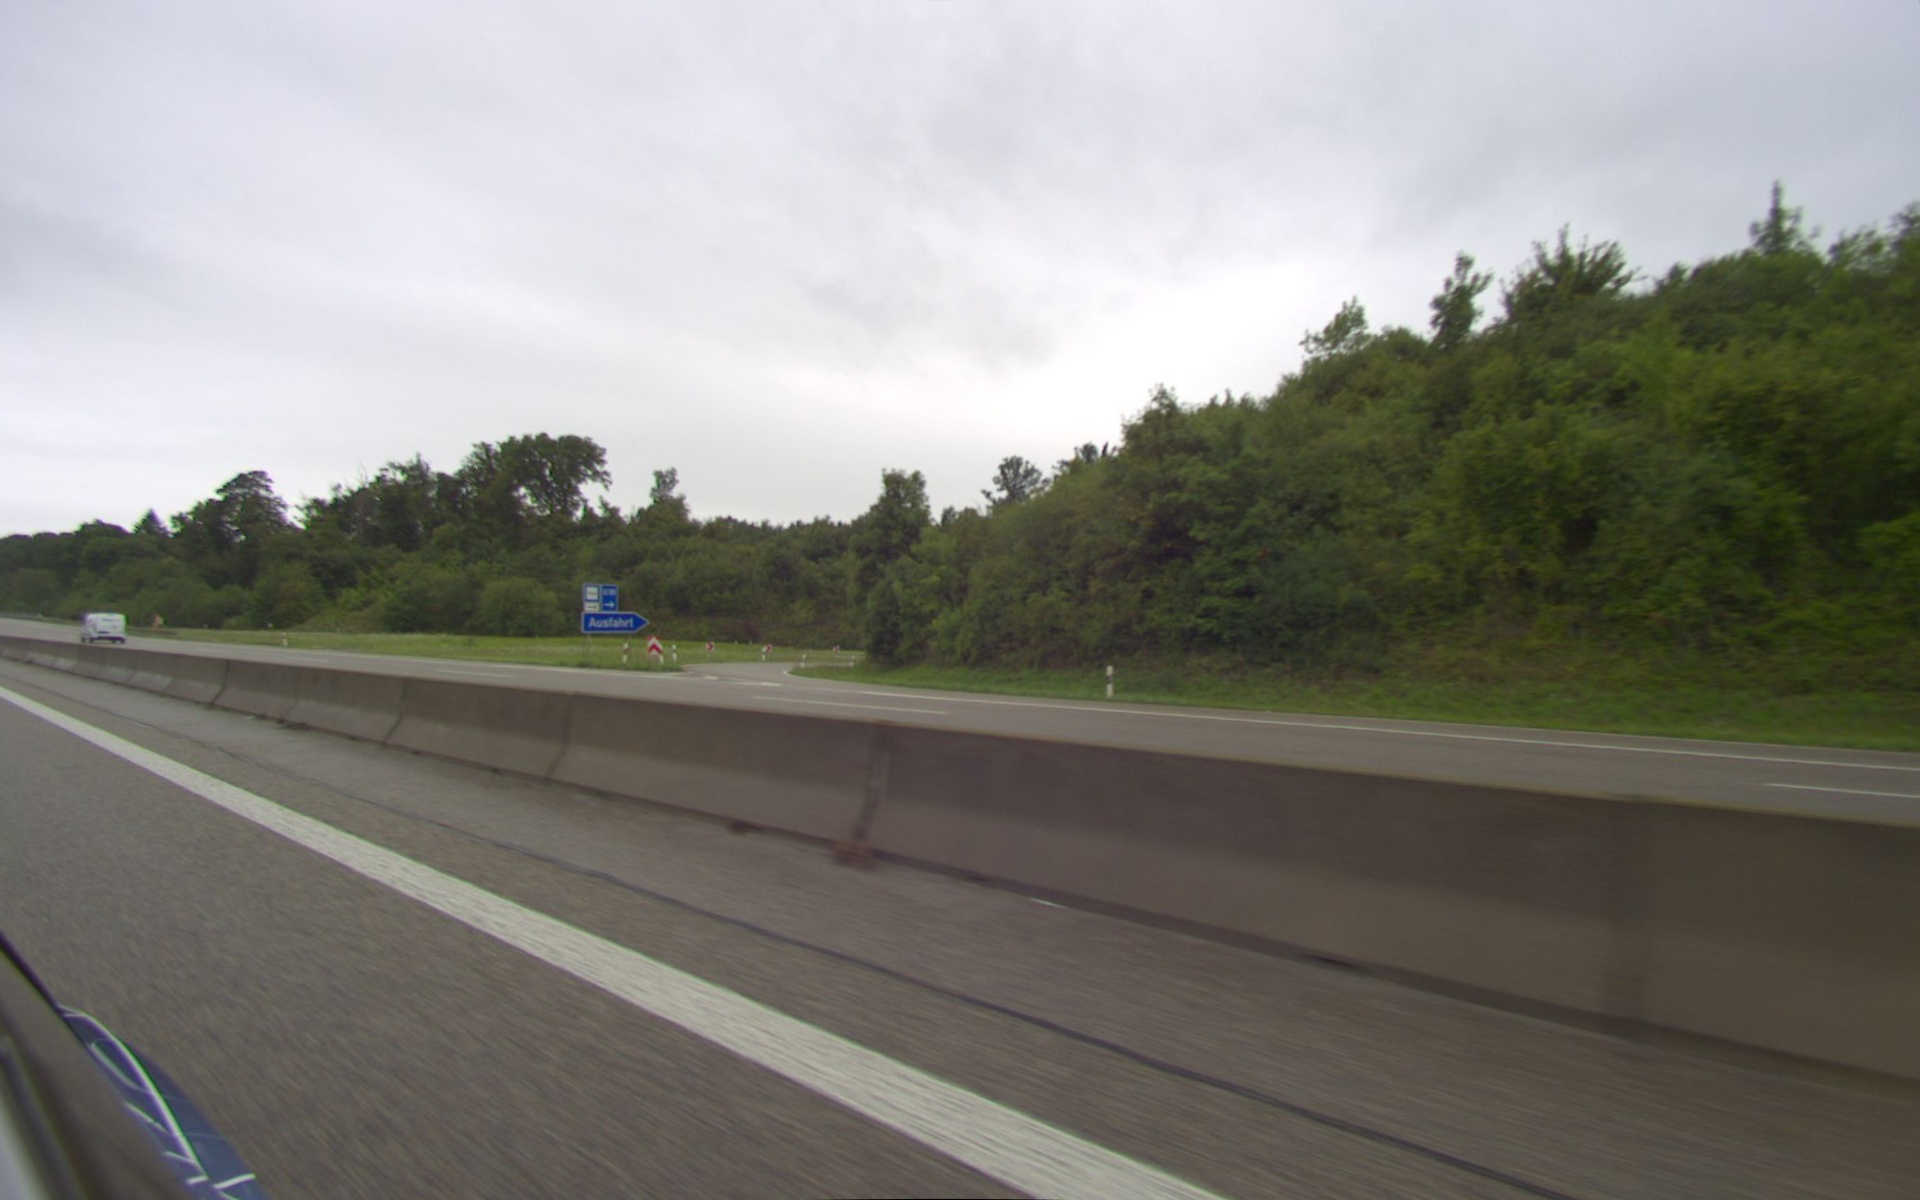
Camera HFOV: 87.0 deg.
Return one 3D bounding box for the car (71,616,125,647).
[{"bbox_3d":[-60.711,2.198,71.231,5.757,2.029,1.973,-1,-1,40],"label":"car"}]
